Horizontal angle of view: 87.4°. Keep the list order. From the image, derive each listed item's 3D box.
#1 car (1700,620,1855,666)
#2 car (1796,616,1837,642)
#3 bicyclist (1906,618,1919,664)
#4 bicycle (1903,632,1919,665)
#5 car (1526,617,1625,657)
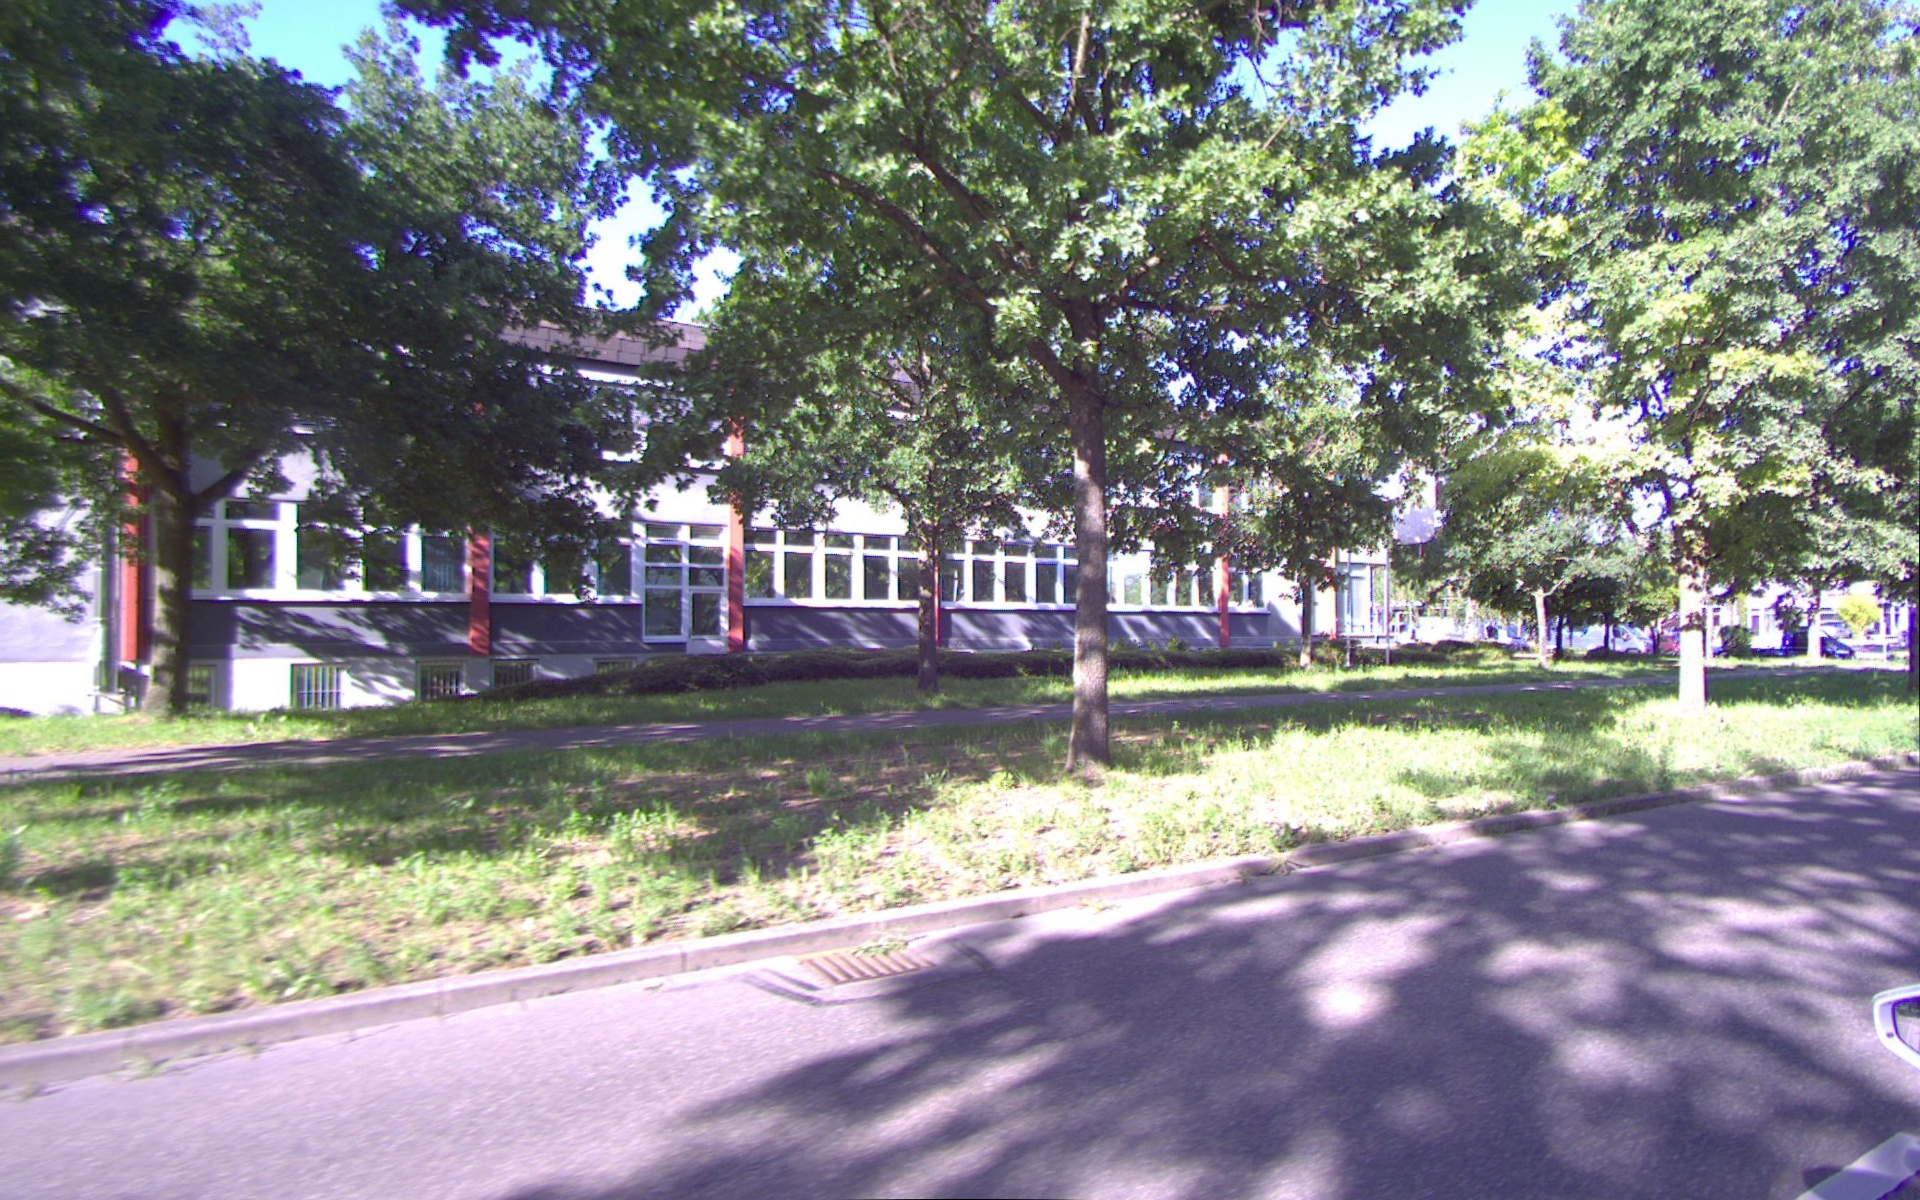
[{"bbox_3d":[41.021,2.091,50.548,1.983,2.040,5.743,1,0,-39],"label":"car"},{"bbox_3d":[78.016,2.641,91.482,3.962,2.265,1.980,1,-1,-36],"label":"car"},{"bbox_3d":[39.380,1.690,41.113,0.923,1.855,0.683,1,1,-31],"label":"bicyclist"},{"bbox_3d":[39.515,1.983,41.183,1.968,1.339,0.713,1,0,-31],"label":"bicycle"},{"bbox_3d":[28.137,1.669,45.995,1.972,1.664,3.350,1,0,-24],"label":"car"}]
